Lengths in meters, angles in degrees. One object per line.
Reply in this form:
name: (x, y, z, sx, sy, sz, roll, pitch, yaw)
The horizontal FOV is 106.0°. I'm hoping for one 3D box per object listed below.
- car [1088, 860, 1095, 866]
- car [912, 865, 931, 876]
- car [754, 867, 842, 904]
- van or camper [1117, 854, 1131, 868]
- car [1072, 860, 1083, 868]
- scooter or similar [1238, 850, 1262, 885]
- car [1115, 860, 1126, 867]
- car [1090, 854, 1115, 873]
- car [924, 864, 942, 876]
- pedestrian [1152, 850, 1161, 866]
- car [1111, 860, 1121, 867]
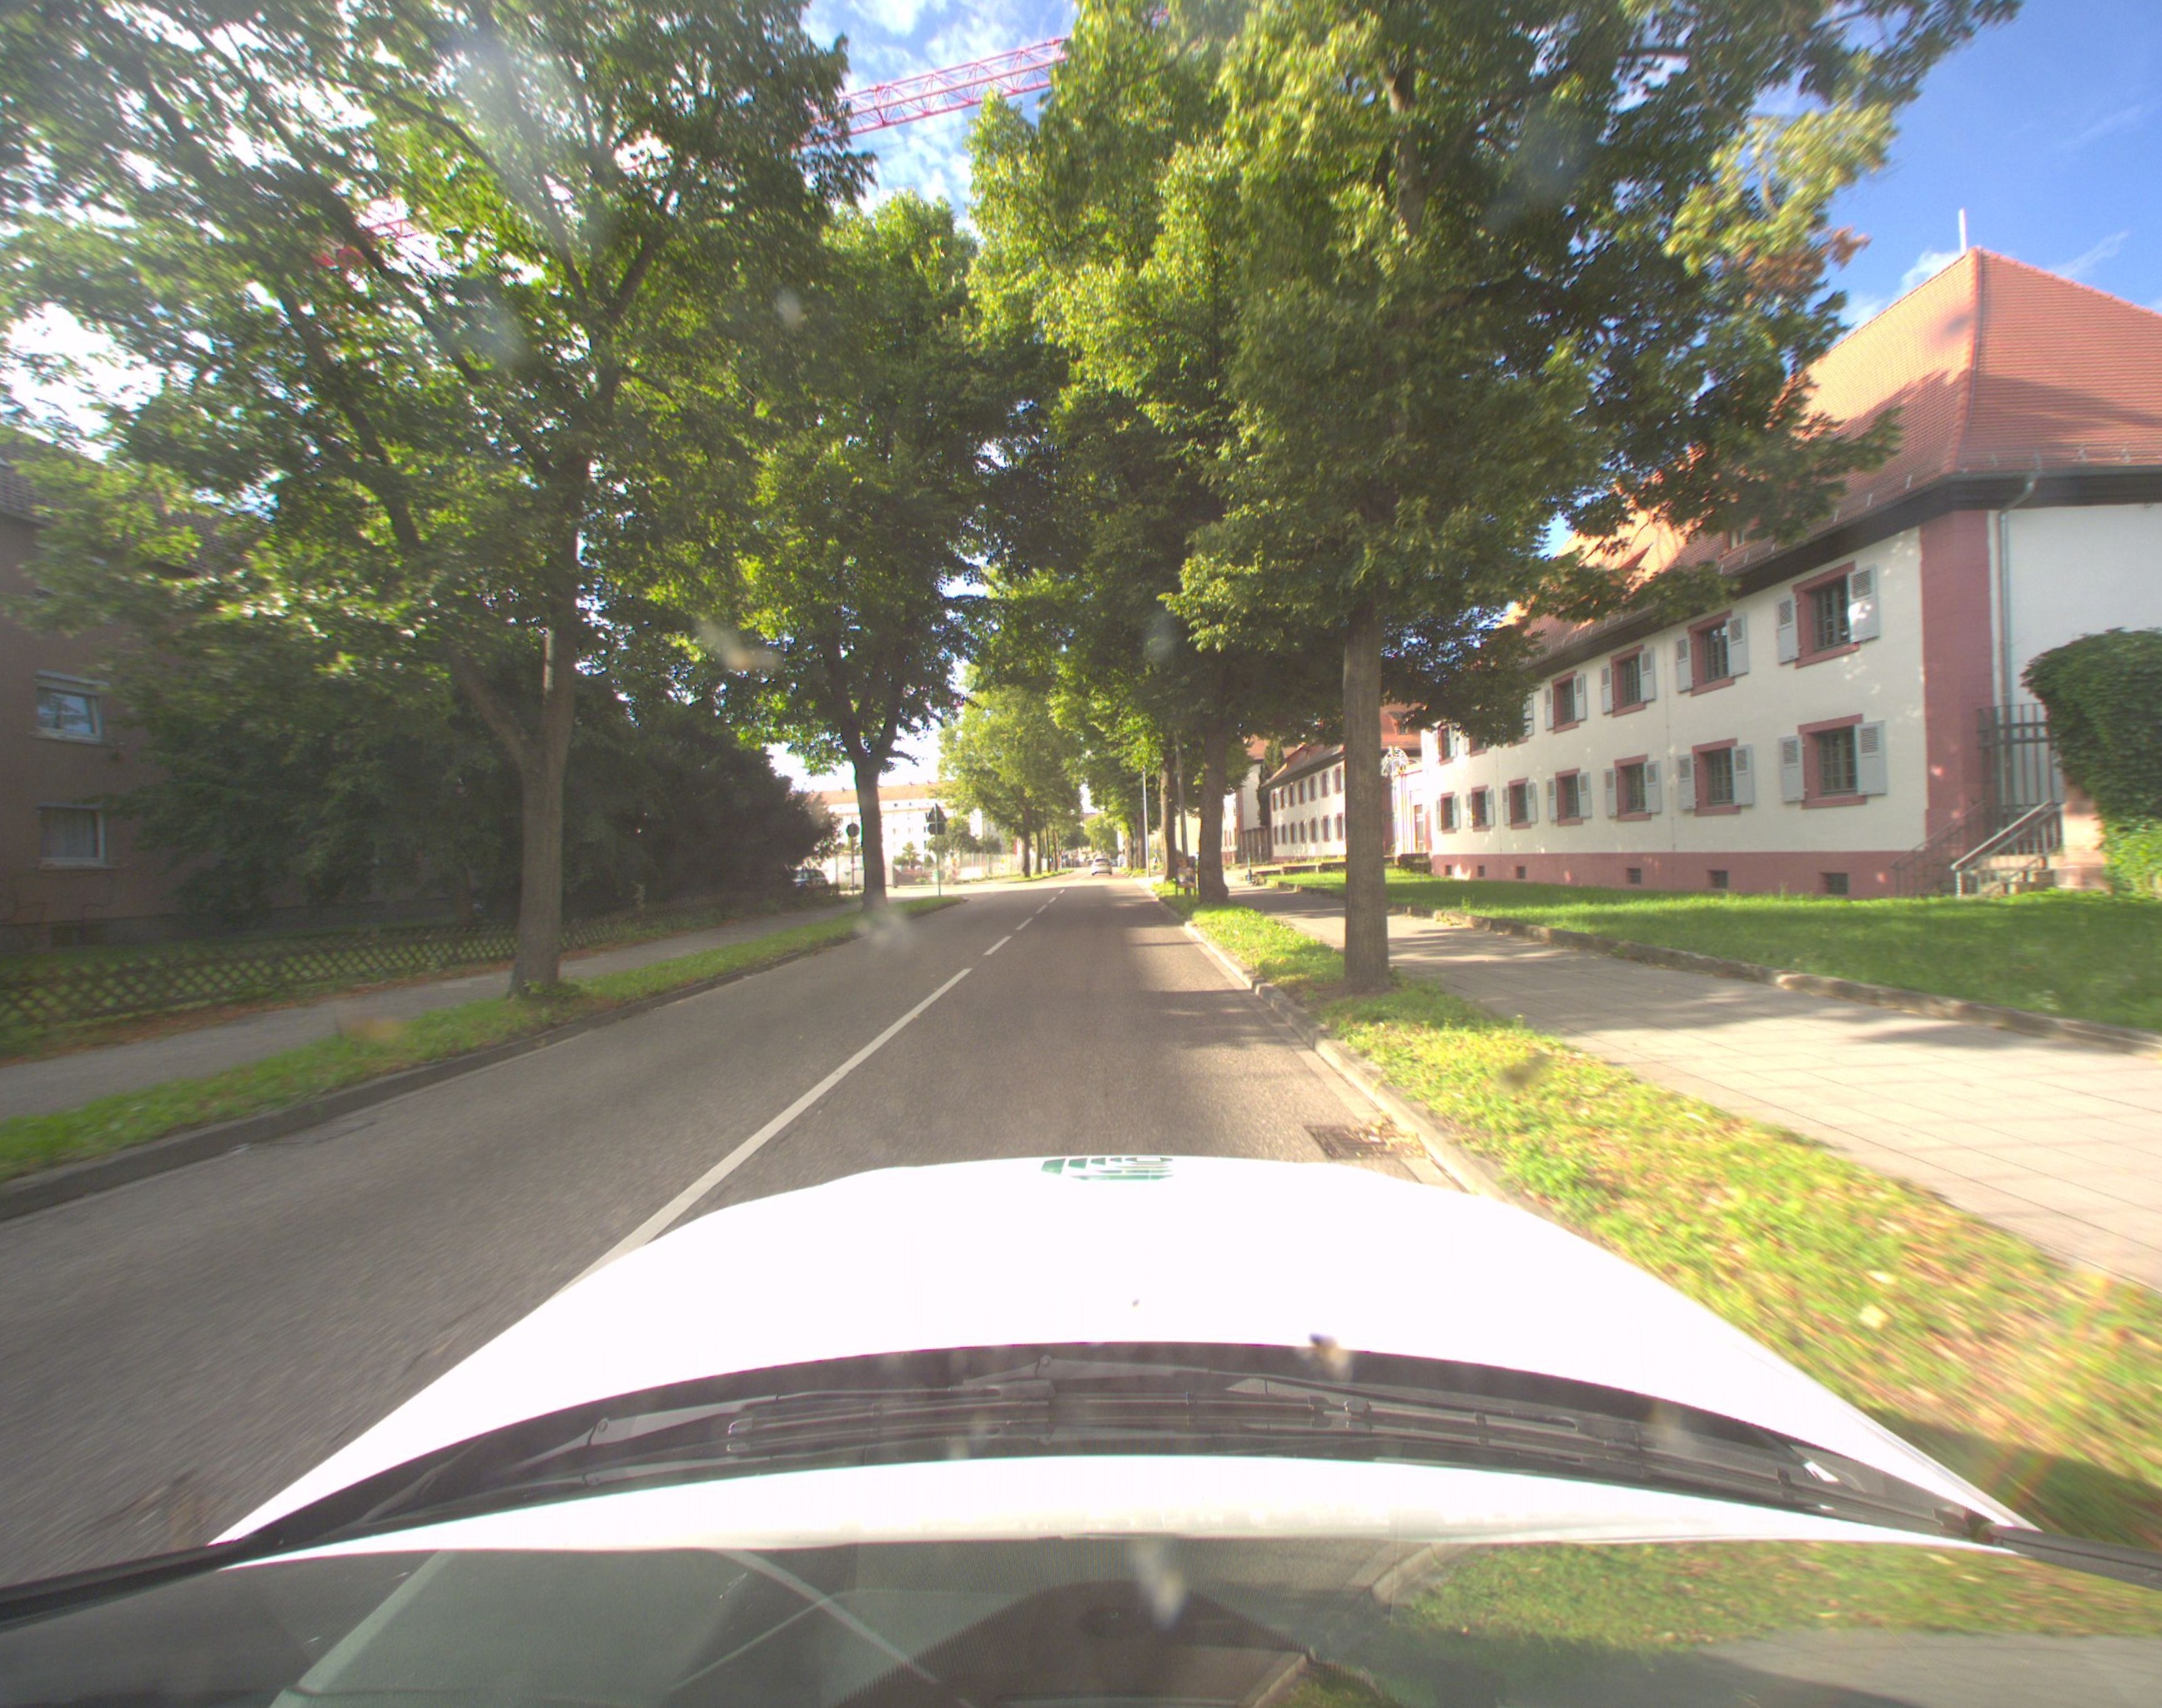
car: (3.161, 2.656, 248.425, 1.986, 1.755, 4.002, -1, -1, 2)
car: (-31.519, 3.165, 161.037, 1.978, 2.013, 4.018, -3, -1, 17)
car: (-12.332, 1.369, 35.861, 1.985, 1.429, 4.512, -3, -2, 4)
van or camper: (8.655, 1.429, 164.765, 2.204, 2.607, 5.366, -3, -1, -2)
car: (-0.853, 2.309, 181.275, 1.990, 1.640, 3.993, -3, -1, -5)
scooter or similar: (6.420, 0.504, 30.990, 0.577, 1.291, 1.382, -4, 0, 3)
car: (8.492, 2.047, 175.694, 1.987, 1.574, 4.000, -3, -1, 1)
car: (1.877, 0.843, 72.301, 1.988, 1.555, 4.271, -1, -1, -2)
car: (-29.127, 3.132, 160.382, 1.978, 2.013, 4.018, -3, -1, 17)
pedestrian: (8.126, 0.434, 87.852, 0.811, 1.590, 0.769, -4, -1, 0)
car: (7.965, 2.235, 186.260, 1.987, 1.574, 4.000, -3, -1, 1)
